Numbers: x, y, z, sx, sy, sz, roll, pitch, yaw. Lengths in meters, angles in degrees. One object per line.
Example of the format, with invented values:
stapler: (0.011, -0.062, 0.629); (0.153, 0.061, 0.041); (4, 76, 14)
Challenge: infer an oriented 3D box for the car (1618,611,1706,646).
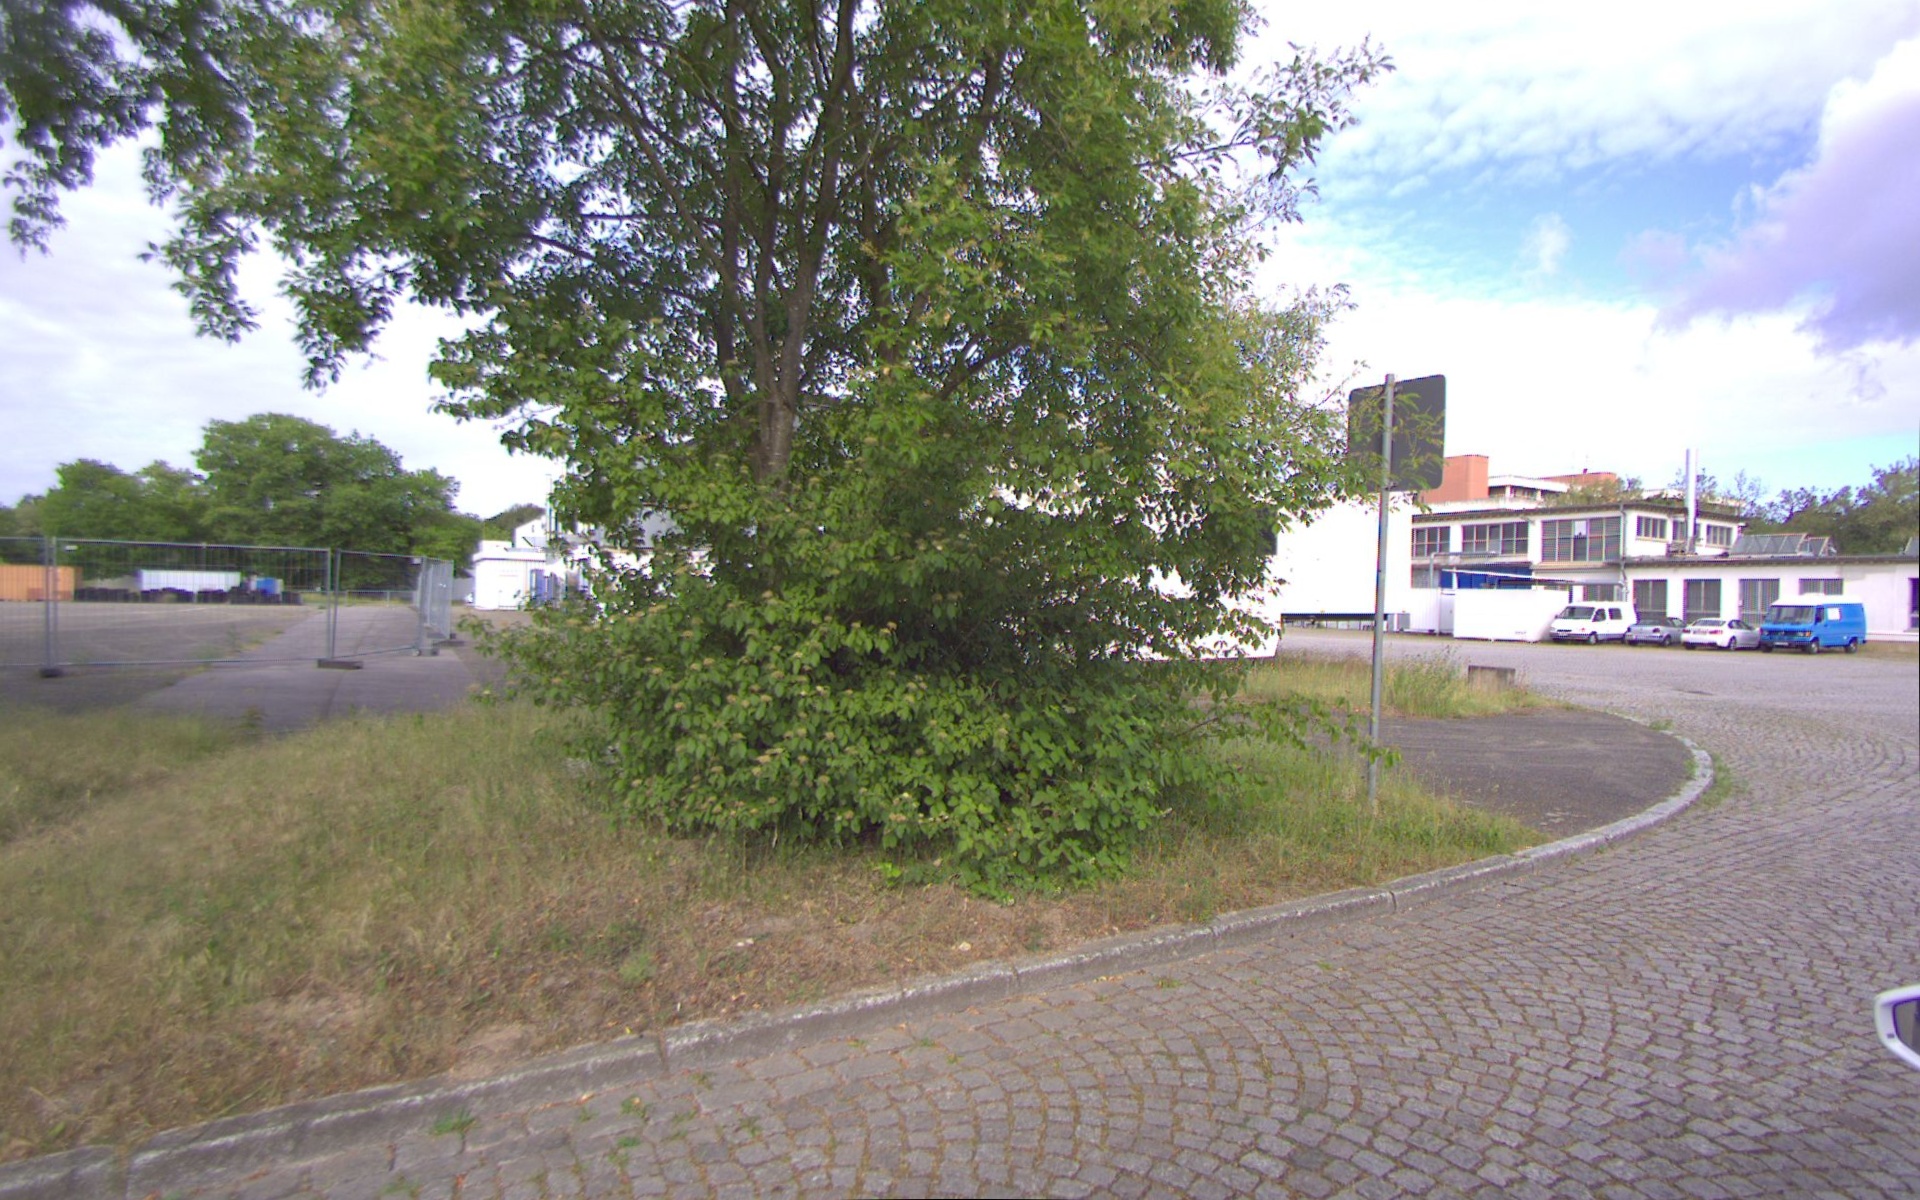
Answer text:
car: (33.498, 1.349, 47.920); (3.952, 1.596, 1.892); (1, 0, -29)

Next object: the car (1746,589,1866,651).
car: (36.470, 0.872, 43.282); (5.546, 2.557, 1.986); (1, 0, -28)

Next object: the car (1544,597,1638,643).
car: (31.614, 0.993, 50.287); (4.723, 2.236, 1.893); (1, 0, -28)

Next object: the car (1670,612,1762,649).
car: (33.977, 1.359, 45.111); (3.952, 1.596, 1.892); (1, 0, -29)

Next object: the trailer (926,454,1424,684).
trailer: (4.650, -0.412, 20.128); (10.588, 3.755, 2.646); (1, 0, -29)
